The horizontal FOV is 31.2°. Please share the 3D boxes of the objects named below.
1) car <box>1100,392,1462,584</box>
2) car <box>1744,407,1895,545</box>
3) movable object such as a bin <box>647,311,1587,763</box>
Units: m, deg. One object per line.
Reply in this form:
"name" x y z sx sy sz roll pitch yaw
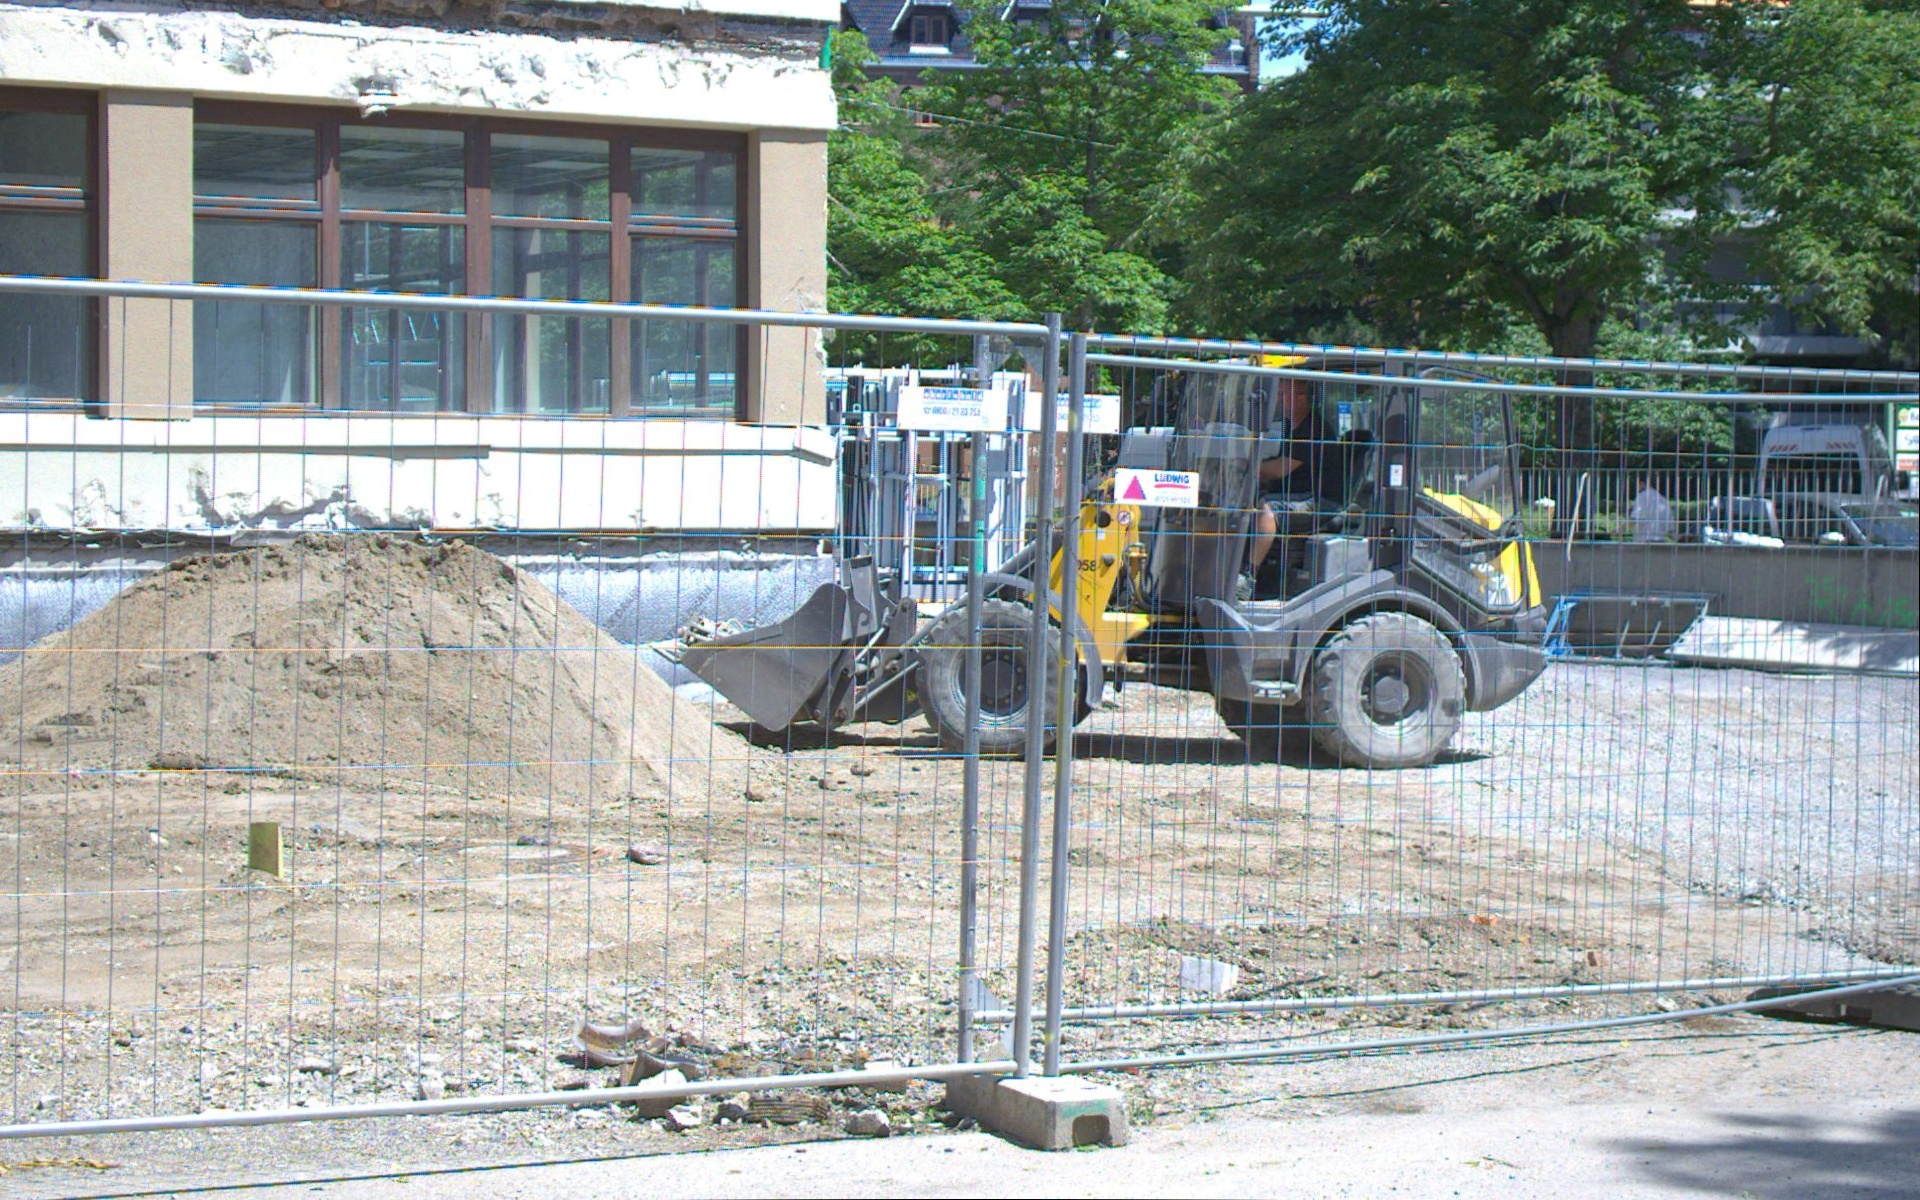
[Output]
"car" 4.210 -1.489 45.997 1.994 2.408 5.243 -1 2 -33
"car" 14.704 -2.092 58.656 2.186 2.250 4.865 1 2 18
"movable object such as a bin" 0.844 -0.399 21.103 5.402 2.455 2.369 2 2 -4
